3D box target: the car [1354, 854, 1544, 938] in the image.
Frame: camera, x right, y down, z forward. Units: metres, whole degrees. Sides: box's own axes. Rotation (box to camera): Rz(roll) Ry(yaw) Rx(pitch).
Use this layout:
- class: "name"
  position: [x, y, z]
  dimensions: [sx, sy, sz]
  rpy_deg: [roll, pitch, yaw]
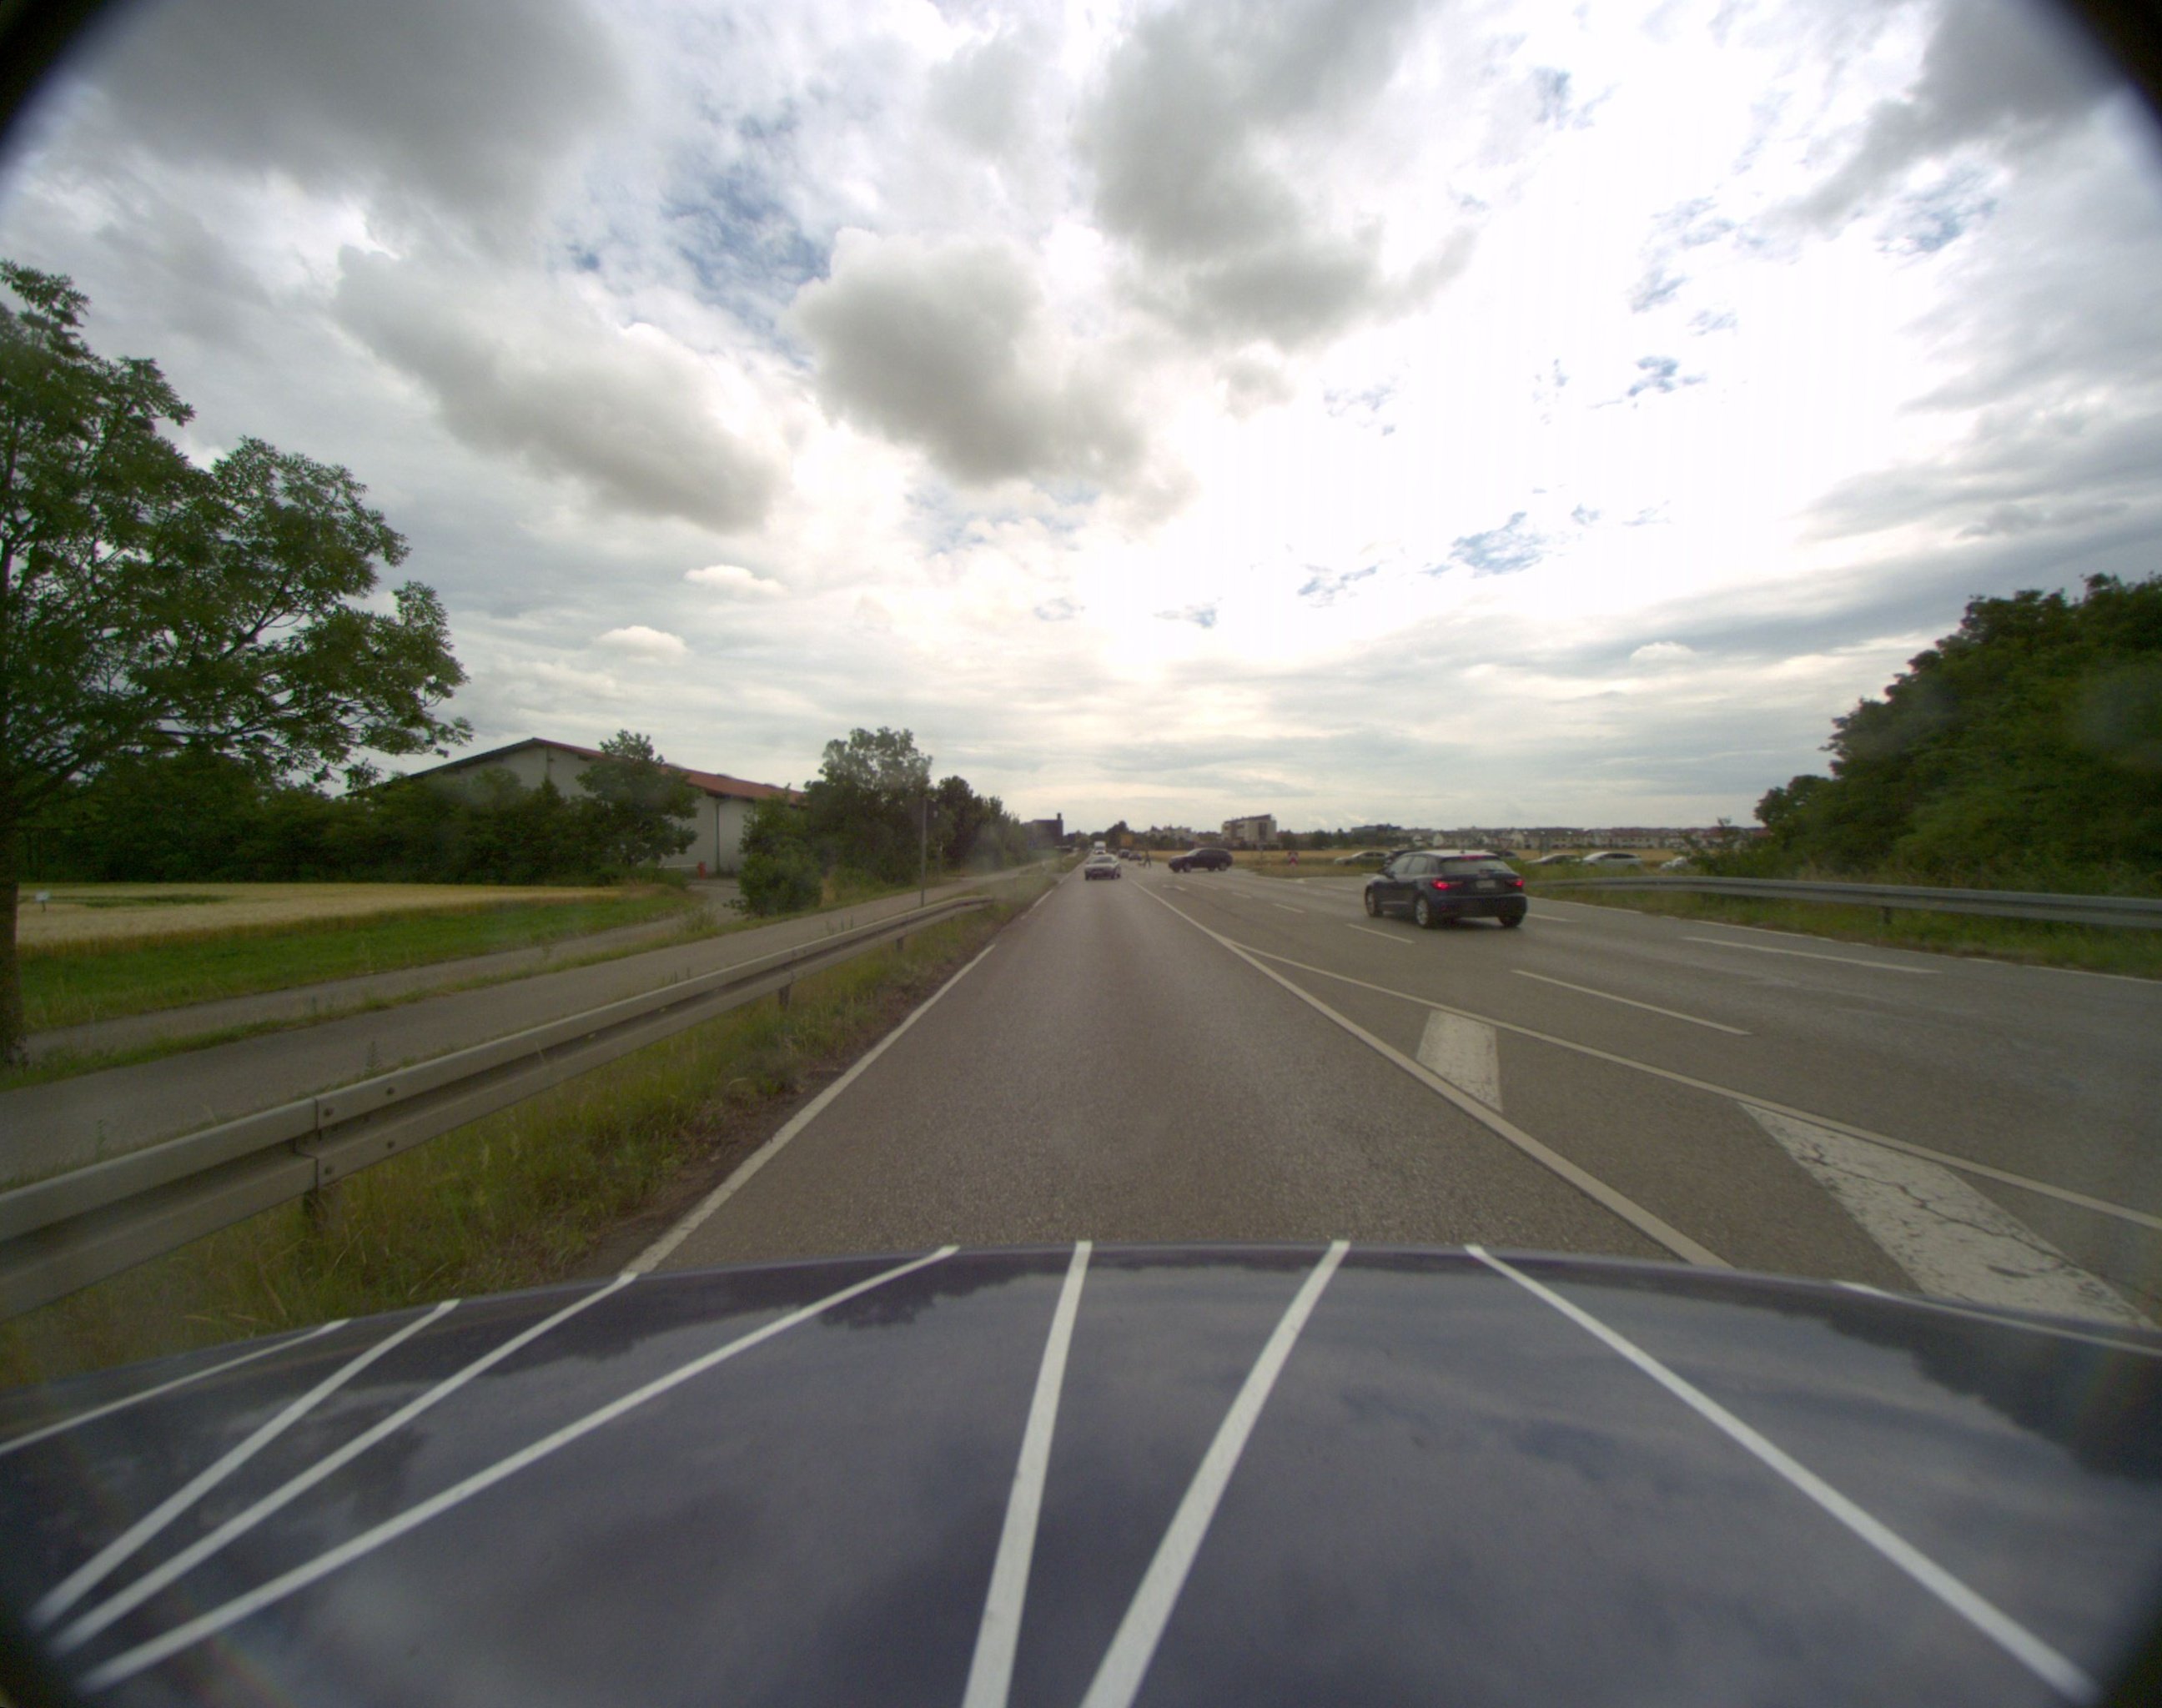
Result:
- class: "car"
  position: [6.973, 0.709, 14.915]
  dimensions: [1.867, 1.368, 4.000]
  rpy_deg: [-2, 0, 2]

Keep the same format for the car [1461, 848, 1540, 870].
- class: "car"
  position: [30.334, 0.332, 55.021]
  dimensions: [4.632, 1.508, 1.912]
  rpy_deg: [0, 1, 7]

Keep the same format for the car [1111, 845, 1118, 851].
- class: "car"
  position: [8.826, -1.683, 199.044]
  dimensions: [1.683, 1.512, 4.395]
  rpy_deg: [-2, 1, 1]

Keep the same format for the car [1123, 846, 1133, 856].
- class: "car"
  position: [8.311, -0.534, 134.147]
  dimensions: [1.746, 1.521, 4.199]
  rpy_deg: [-2, 1, 3]

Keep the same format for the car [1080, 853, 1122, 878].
- class: "car"
  position: [1.263, 0.652, 45.236]
  dimensions: [1.908, 1.416, 4.468]
  rpy_deg: [0, 1, 9]

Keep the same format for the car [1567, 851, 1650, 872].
- class: "car"
  position: [37.435, 0.534, 53.998]
  dimensions: [4.499, 1.474, 1.912]
  rpy_deg: [0, 1, 7]

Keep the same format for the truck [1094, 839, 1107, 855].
- class: "truck"
  position: [4.429, -1.544, 169.952]
  dimensions: [2.813, 3.588, 11.219]
  rpy_deg: [0, 1, 2]

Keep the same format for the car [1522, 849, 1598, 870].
- class: "car"
  position: [35.572, 0.412, 56.555]
  dimensions: [4.406, 1.474, 1.912]
  rpy_deg: [0, 1, 7]

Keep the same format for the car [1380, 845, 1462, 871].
- class: "car"
  position: [21.510, 0.254, 48.157]
  dimensions: [4.478, 1.602, 1.708]
  rpy_deg: [-1, 1, 0]

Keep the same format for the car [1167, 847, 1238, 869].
- class: "car"
  position: [8.801, 0.299, 55.242]
  dimensions: [4.757, 1.523, 1.908]
  rpy_deg: [-1, 1, -14]

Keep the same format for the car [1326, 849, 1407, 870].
- class: "car"
  position: [21.018, 0.374, 56.147]
  dimensions: [5.295, 1.512, 1.912]
  rpy_deg: [0, 1, 7]

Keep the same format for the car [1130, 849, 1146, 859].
- class: "car"
  position: [8.588, -0.014, 115.390]
  dimensions: [2.170, 1.277, 4.237]
  rpy_deg: [-2, 1, 1]

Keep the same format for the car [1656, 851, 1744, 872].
- class: "car"
  position: [43.418, 0.515, 53.386]
  dimensions: [4.499, 1.474, 1.912]
  rpy_deg: [0, 1, 7]
